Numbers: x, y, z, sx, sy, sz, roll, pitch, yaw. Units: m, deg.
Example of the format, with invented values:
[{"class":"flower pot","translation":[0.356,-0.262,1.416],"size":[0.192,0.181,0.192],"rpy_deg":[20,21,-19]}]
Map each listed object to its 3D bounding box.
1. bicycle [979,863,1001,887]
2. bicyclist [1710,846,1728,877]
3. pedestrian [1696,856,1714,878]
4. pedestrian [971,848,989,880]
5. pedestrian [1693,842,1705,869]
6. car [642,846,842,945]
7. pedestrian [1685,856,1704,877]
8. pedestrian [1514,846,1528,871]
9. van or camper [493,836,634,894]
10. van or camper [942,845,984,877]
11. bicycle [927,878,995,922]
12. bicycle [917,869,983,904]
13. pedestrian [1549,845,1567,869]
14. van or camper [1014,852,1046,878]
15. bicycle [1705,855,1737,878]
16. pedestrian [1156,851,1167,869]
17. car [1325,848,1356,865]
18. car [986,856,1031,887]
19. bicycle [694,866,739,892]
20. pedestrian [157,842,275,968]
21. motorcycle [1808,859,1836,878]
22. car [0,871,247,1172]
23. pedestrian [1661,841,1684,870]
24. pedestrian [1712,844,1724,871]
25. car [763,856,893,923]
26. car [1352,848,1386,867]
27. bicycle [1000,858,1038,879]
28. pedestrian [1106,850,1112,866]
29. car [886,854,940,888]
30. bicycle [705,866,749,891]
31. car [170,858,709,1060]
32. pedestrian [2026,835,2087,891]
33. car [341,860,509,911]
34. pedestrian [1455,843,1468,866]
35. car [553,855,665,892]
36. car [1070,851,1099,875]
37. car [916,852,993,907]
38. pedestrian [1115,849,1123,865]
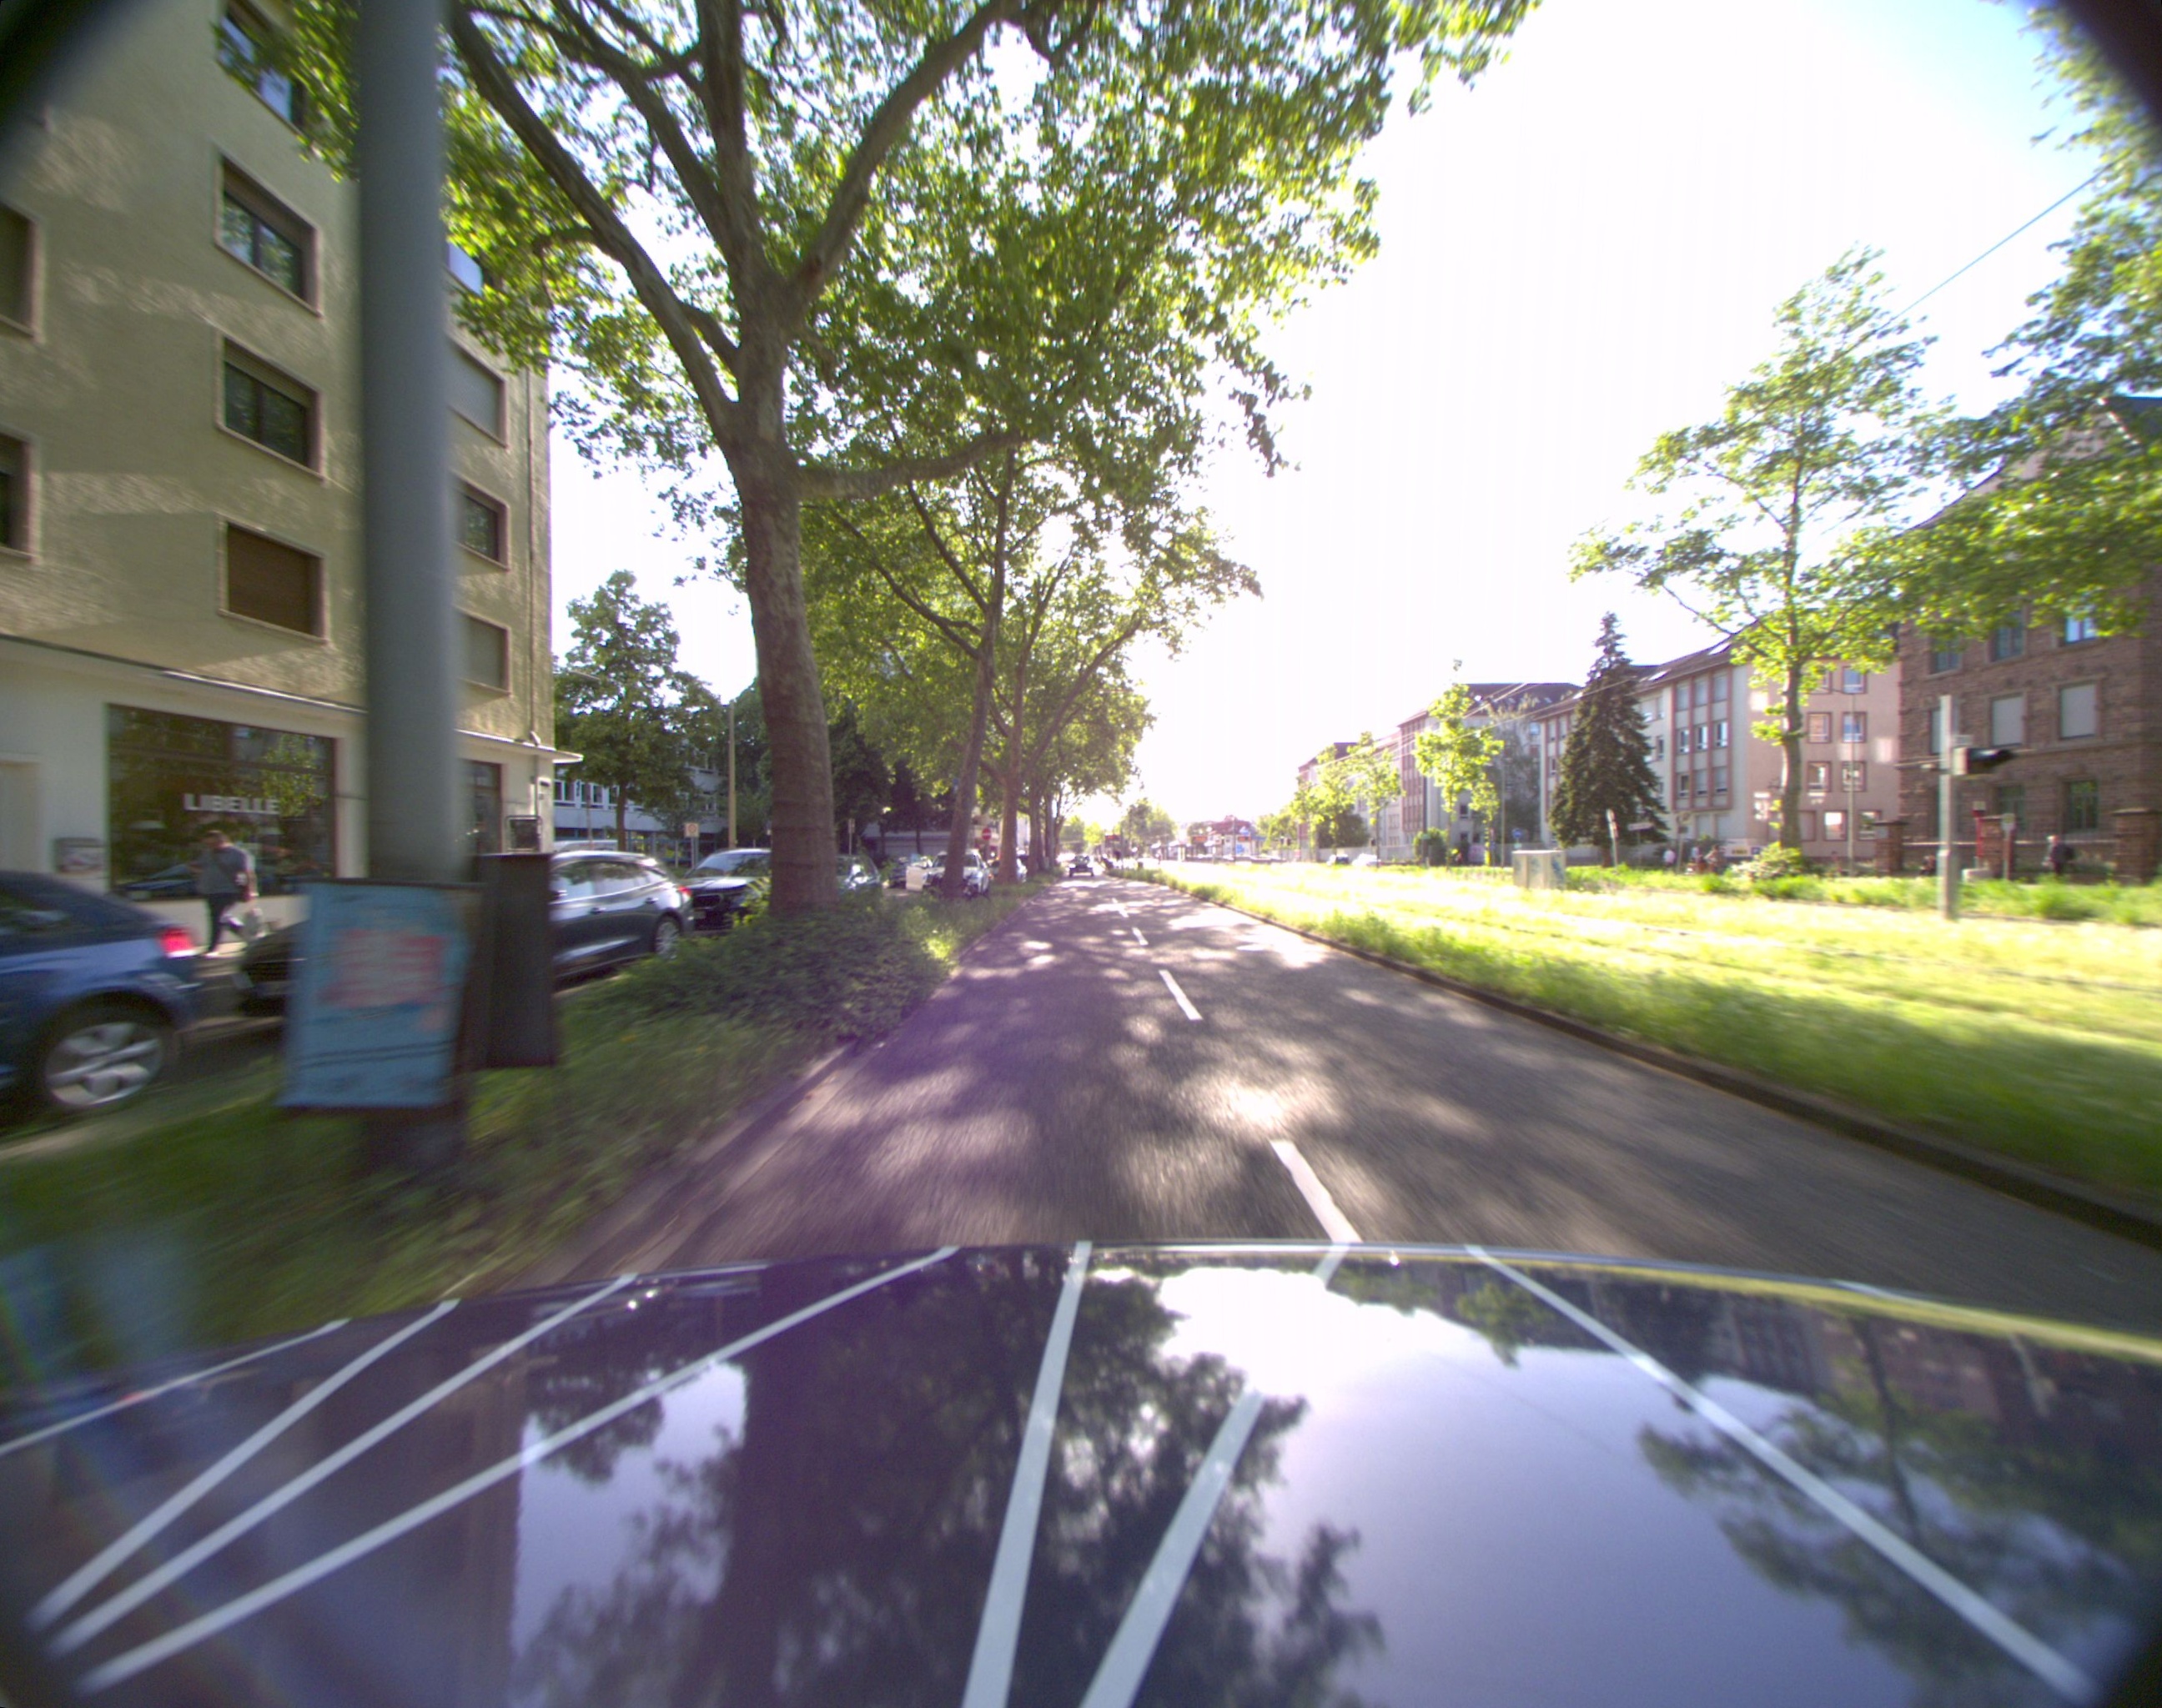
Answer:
[{"class":"bicycle","translation":[-3.750,0.840,31.381],"size":[0.640,0.920,2.164],"rpy_deg":[-1,0,0]},{"class":"bicyclist","translation":[31.161,0.373,37.090],"size":[0.455,1.490,0.502],"rpy_deg":[0,0,-9]},{"class":"pedestrian","translation":[31.202,0.631,37.991],"size":[0.445,1.093,0.587],"rpy_deg":[0,0,-4]},{"class":"pedestrian","translation":[-5.142,0.507,38.717],"size":[0.689,1.601,0.712],"rpy_deg":[-3,0,0]},{"class":"pedestrian","translation":[38.826,0.106,47.757],"size":[0.376,1.685,0.449],"rpy_deg":[-1,1,6]},{"class":"car","translation":[-5.924,0.669,13.905],"size":[1.699,1.521,4.262],"rpy_deg":[0,-1,1]},{"class":"pedestrian","translation":[31.153,0.631,38.599],"size":[0.587,1.093,0.479],"rpy_deg":[0,0,-1]},{"class":"pedestrian","translation":[33.270,0.331,57.424],"size":[0.694,1.826,0.573],"rpy_deg":[-1,1,0]},{"class":"van or camper","translation":[-25.238,0.476,37.359],"size":[2.149,2.621,5.594],"rpy_deg":[0,0,16]},{"class":"van or camper","translation":[-8.915,0.464,57.932],"size":[2.297,2.273,5.822],"rpy_deg":[-1,0,0]},{"class":"bicycle","translation":[-2.957,1.135,18.781],"size":[1.596,1.052,0.404],"rpy_deg":[0,1,7]},{"class":"bicycle","translation":[-3.720,0.914,21.643],"size":[1.767,0.922,0.652],"rpy_deg":[-1,1,-40]},{"class":"pedestrian","translation":[34.311,0.211,54.659],"size":[0.683,1.685,0.823],"rpy_deg":[-1,0,-18]},{"class":"van or camper","translation":[-3.330,0.680,49.248],"size":[1.507,1.578,2.836],"rpy_deg":[-1,0,-17]},{"class":"bicycle","translation":[31.178,0.599,37.016],"size":[0.463,1.061,1.175],"rpy_deg":[0,0,-9]},{"class":"pedestrian","translation":[7.661,0.541,72.360],"size":[0.955,1.725,0.730],"rpy_deg":[-1,0,3]},{"class":"car","translation":[26.328,0.227,77.228],"size":[1.998,1.697,4.150],"rpy_deg":[-1,0,4]},{"class":"car","translation":[-3.626,0.834,38.705],"size":[1.758,1.390,5.026],"rpy_deg":[-1,0,0]},{"class":"bicycle","translation":[-16.115,1.094,33.566],"size":[2.140,1.097,0.509],"rpy_deg":[0,1,25]},{"class":"pedestrian","translation":[-12.041,0.685,10.603],"size":[0.797,1.694,0.724],"rpy_deg":[0,1,1]},{"class":"motorcycle","translation":[37.163,0.729,38.106],"size":[0.335,0.941,1.044],"rpy_deg":[-1,0,-3]},{"class":"car","translation":[-6.088,0.868,2.553],"size":[1.838,1.399,4.192],"rpy_deg":[-3,0,1]},{"class":"pedestrian","translation":[35.119,0.077,45.106],"size":[0.683,1.685,0.882],"rpy_deg":[-1,1,-28]},{"class":"pedestrian","translation":[39.866,0.206,47.571],"size":[0.376,1.685,0.449],"rpy_deg":[-1,1,7]},{"class":"car","translation":[-5.986,0.793,18.542],"size":[1.718,1.443,4.262],"rpy_deg":[0,-1,1]},{"class":"car","translation":[25.402,0.317,67.236],"size":[1.769,1.613,4.477],"rpy_deg":[-1,0,6]},{"class":"bicycle","translation":[-3.503,0.829,42.920],"size":[2.075,1.118,0.676],"rpy_deg":[-1,1,-1]},{"class":"pedestrian","translation":[3.526,0.460,94.481],"size":[0.669,2.002,0.716],"rpy_deg":[-1,1,2]},{"class":"car","translation":[-9.289,0.882,42.401],"size":[1.824,1.732,5.167],"rpy_deg":[-1,0,0]},{"class":"bicycle","translation":[-15.876,1.083,34.076],"size":[2.140,1.097,0.509],"rpy_deg":[0,1,25]},{"class":"car","translation":[-5.934,0.819,7.978],"size":[1.699,1.498,4.583],"rpy_deg":[0,-1,1]},{"class":"pedestrian","translation":[33.714,0.309,26.270],"size":[0.903,1.888,0.942],"rpy_deg":[0,0,1]},{"class":"car","translation":[-21.865,1.012,25.355],"size":[4.592,1.571,2.002],"rpy_deg":[-1,0,16]},{"class":"pedestrian","translation":[33.339,0.017,66.534],"size":[0.664,2.002,0.860],"rpy_deg":[-1,1,0]},{"class":"car","translation":[-22.664,0.892,36.682],"size":[1.996,1.618,4.395],"rpy_deg":[0,0,15]},{"class":"car","translation":[0.312,0.670,58.310],"size":[1.979,1.660,4.620],"rpy_deg":[-2,0,2]},{"class":"car","translation":[-4.087,0.773,25.287],"size":[1.908,1.626,4.823],"rpy_deg":[-1,0,-2]},{"class":"pedestrian","translation":[4.069,0.271,80.767],"size":[0.714,1.670,0.772],"rpy_deg":[-2,0,-1]}]
